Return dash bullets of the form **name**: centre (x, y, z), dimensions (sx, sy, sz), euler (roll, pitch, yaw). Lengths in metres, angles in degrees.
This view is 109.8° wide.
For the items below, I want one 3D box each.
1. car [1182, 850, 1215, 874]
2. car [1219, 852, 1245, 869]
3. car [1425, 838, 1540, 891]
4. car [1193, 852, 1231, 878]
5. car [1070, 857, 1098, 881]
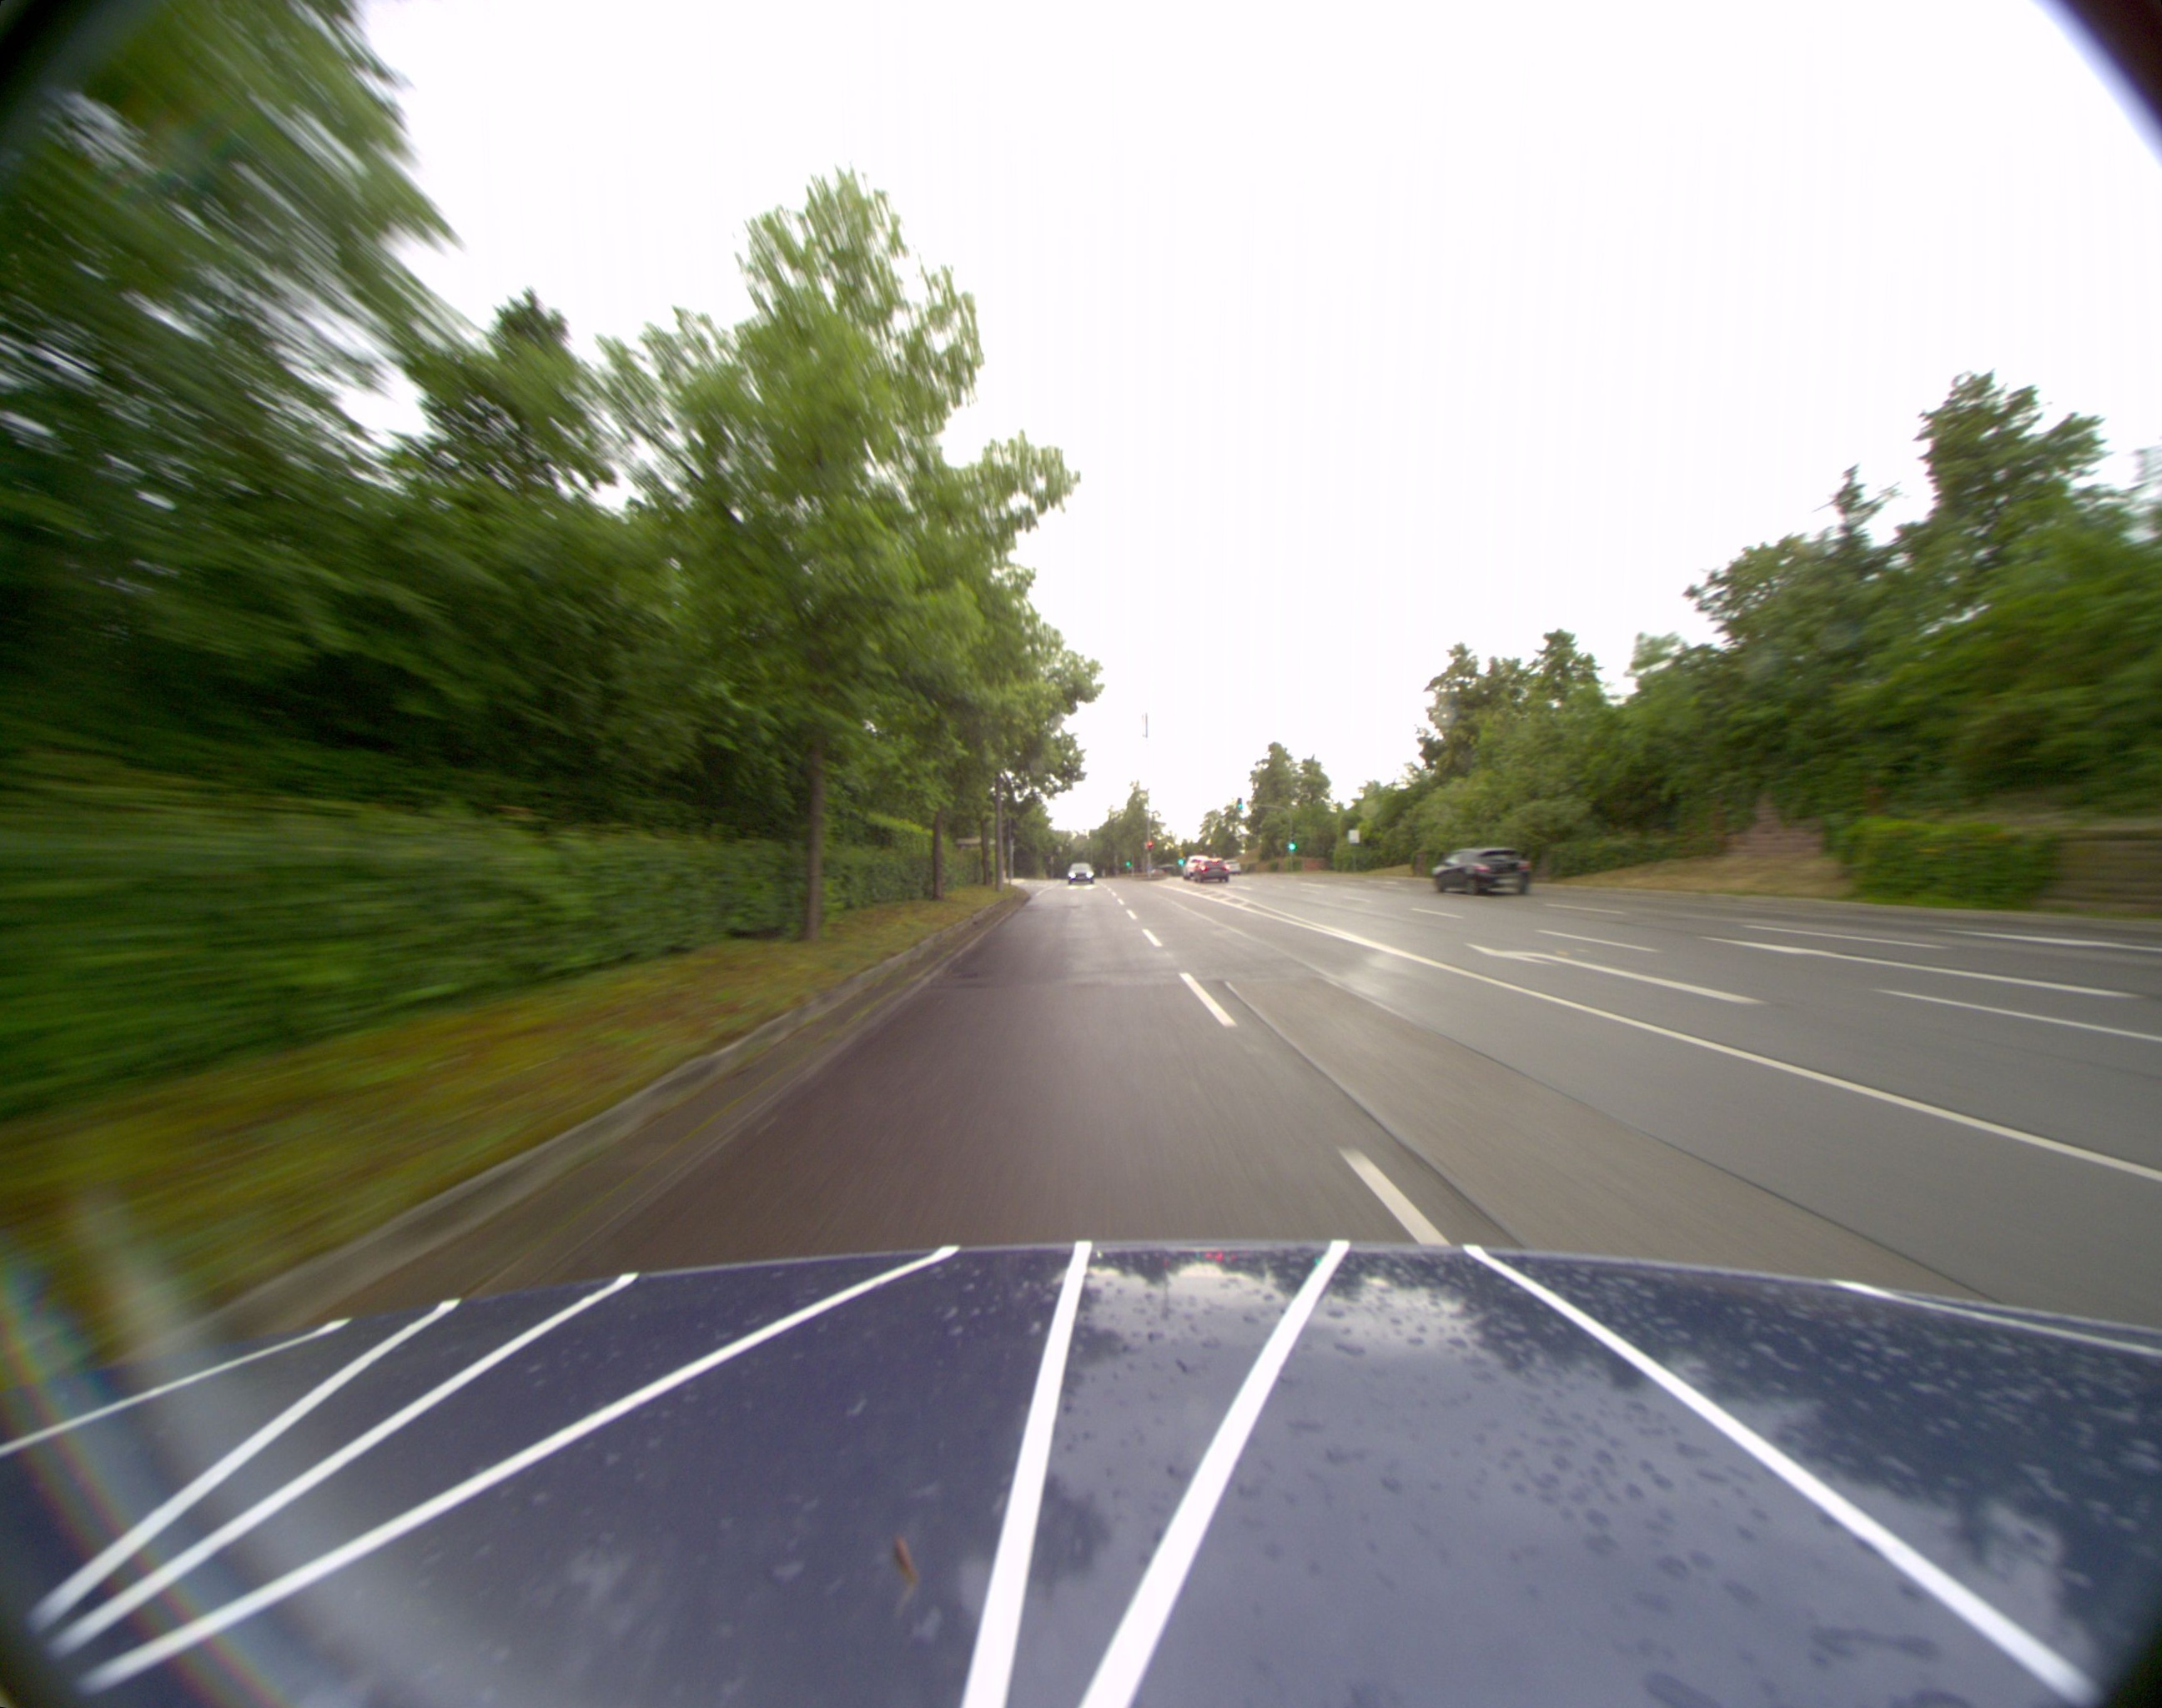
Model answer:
- **car**: centre (8.576, 0.561, 55.892), dimensions (1.890, 1.646, 4.451), euler (-3, 0, 3)
- **car**: centre (16.022, 0.641, 80.769), dimensions (1.890, 1.646, 4.450), euler (-3, 0, 2)
- **car**: centre (12.631, 0.306, 24.181), dimensions (1.678, 1.459, 3.862), euler (-3, 0, 2)
- **car**: centre (8.143, 0.647, 47.404), dimensions (1.781, 1.459, 3.998), euler (-3, 0, 3)
- **car**: centre (0.251, 1.028, 54.018), dimensions (1.737, 1.577, 4.286), euler (-3, 0, 3)
